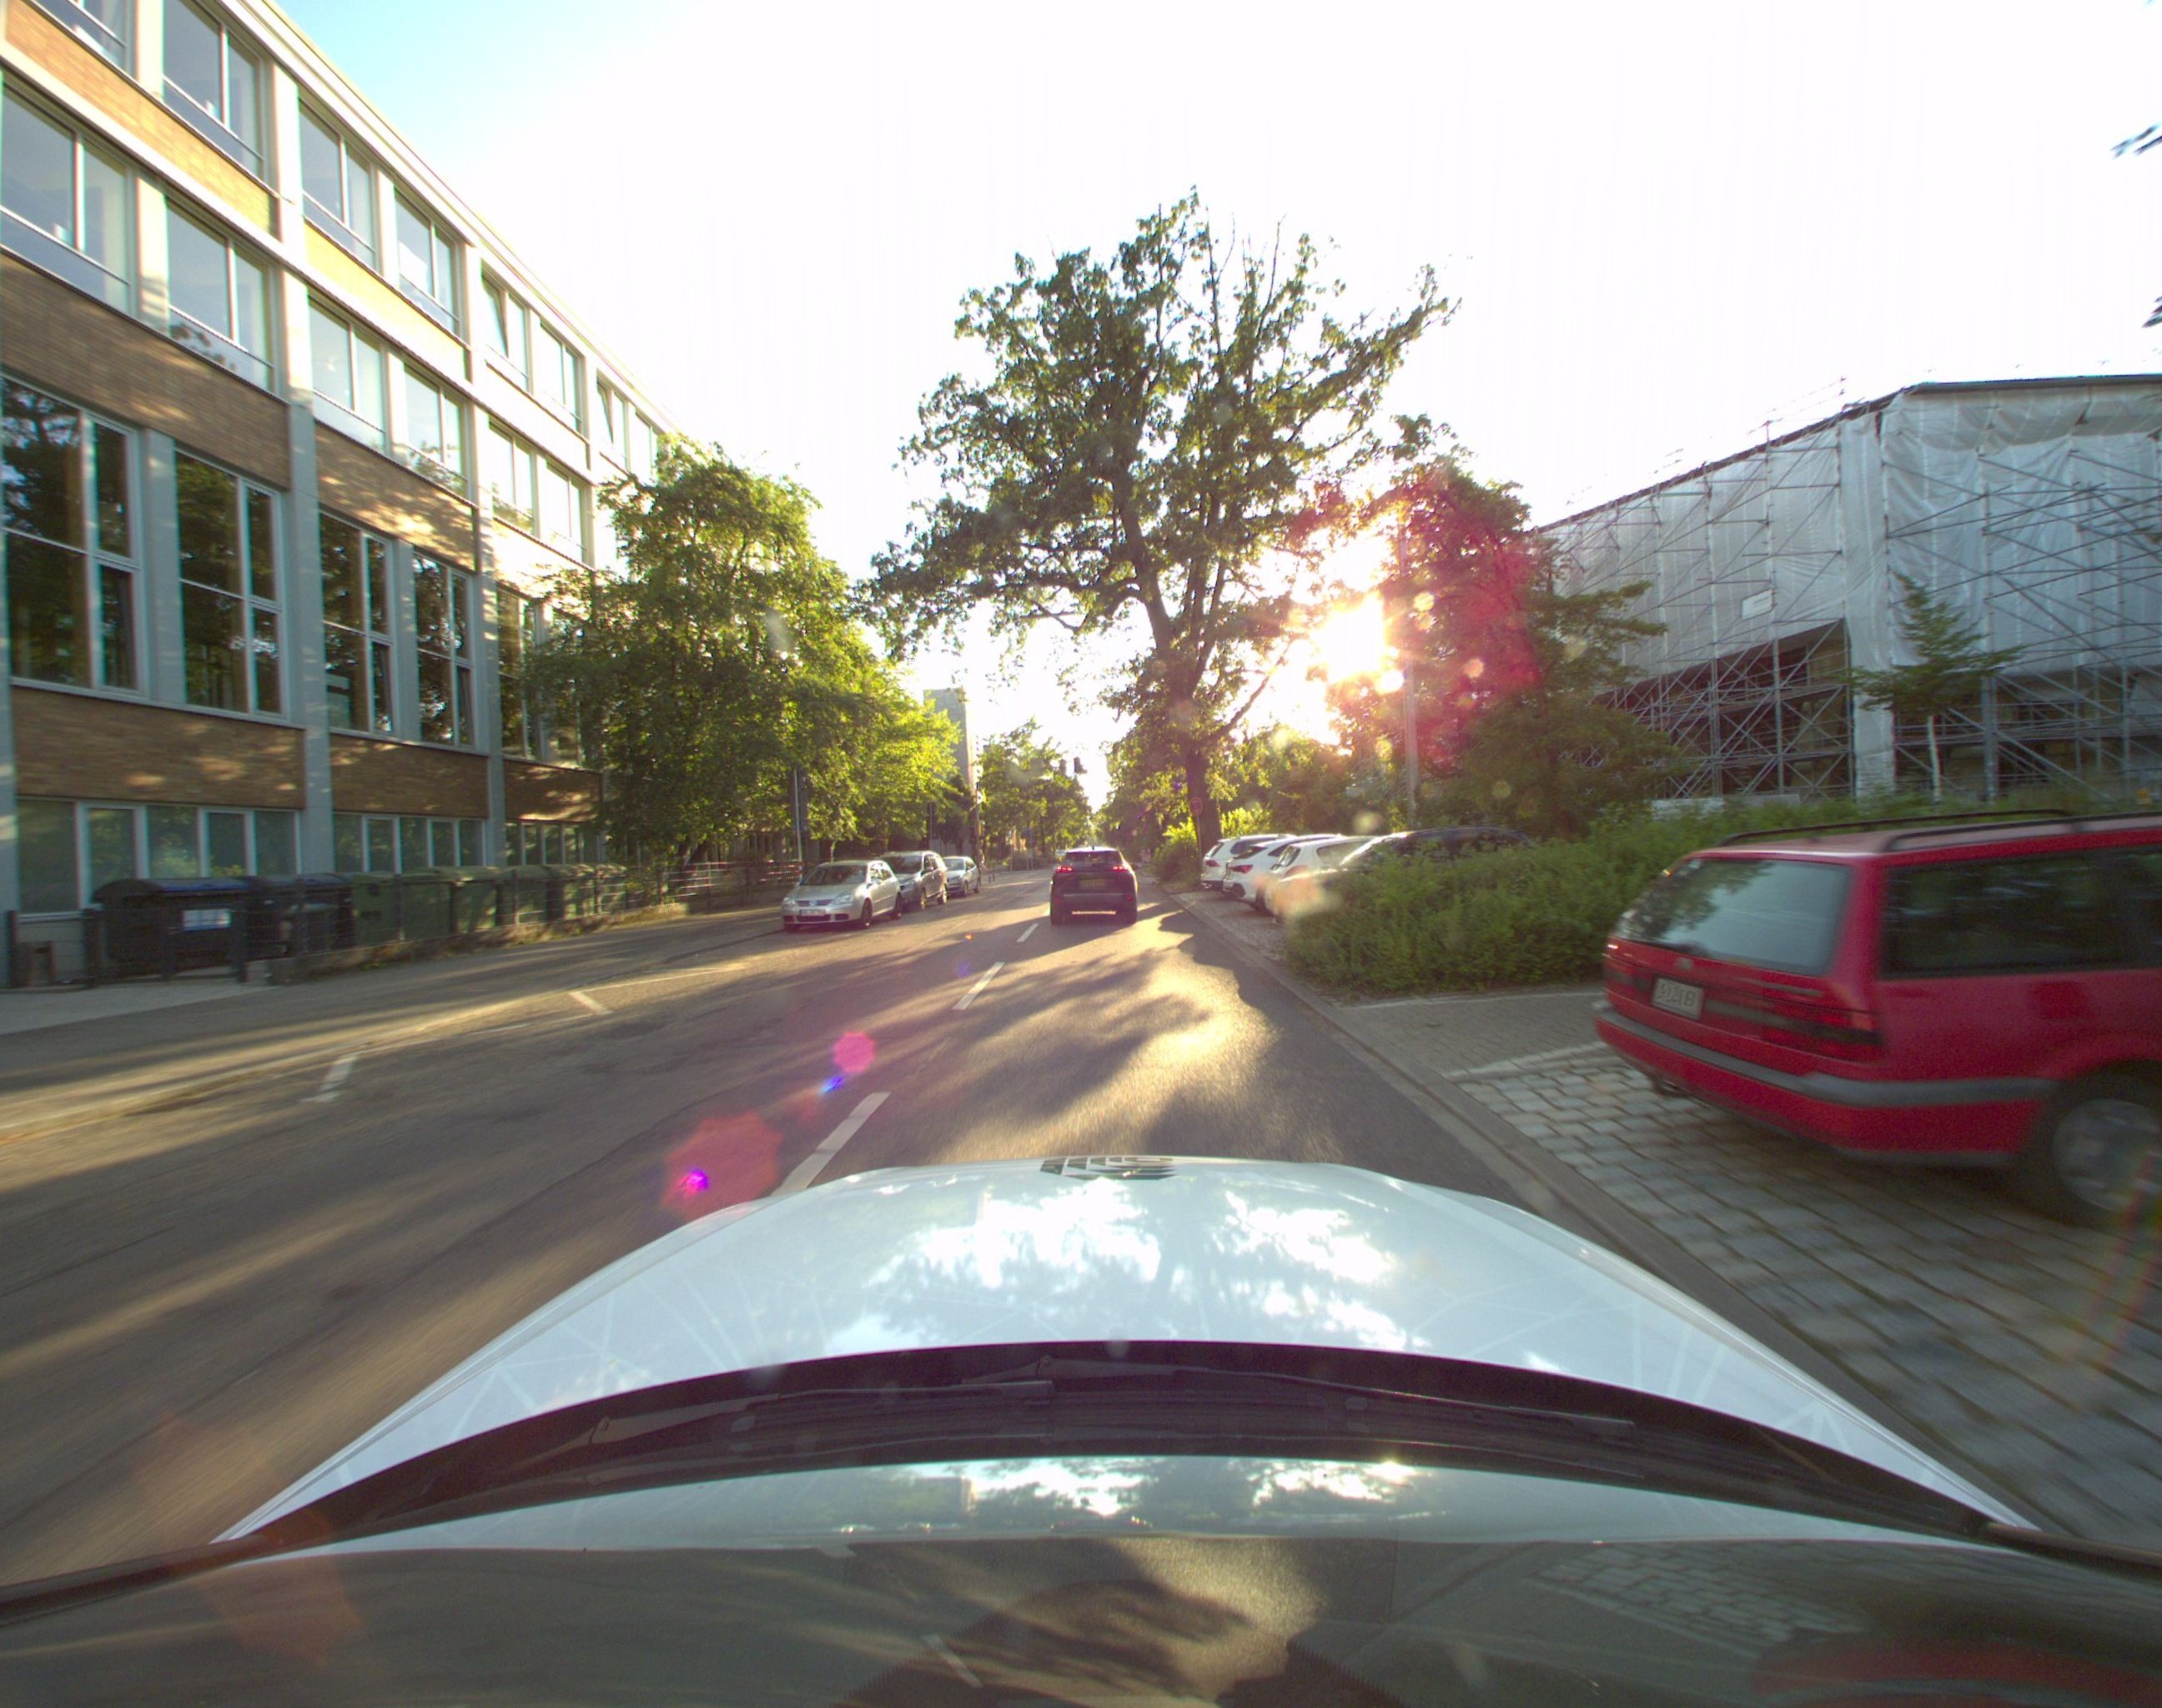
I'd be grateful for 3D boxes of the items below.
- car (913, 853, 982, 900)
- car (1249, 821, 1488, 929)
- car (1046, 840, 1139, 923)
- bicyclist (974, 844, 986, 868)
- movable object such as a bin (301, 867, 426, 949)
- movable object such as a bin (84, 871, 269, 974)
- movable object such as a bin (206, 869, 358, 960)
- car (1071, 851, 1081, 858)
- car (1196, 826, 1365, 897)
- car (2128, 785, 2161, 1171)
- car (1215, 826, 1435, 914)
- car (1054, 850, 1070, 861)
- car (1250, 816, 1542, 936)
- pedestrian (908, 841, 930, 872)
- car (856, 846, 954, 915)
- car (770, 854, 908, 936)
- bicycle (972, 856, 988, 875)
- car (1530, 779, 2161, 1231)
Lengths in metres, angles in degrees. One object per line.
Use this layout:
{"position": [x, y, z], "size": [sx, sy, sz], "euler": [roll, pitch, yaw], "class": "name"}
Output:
{"position": [-4.861, 0.783, 30.182], "size": [1.673, 1.457, 3.884], "euler": [-4, 1, 2], "class": "car"}
{"position": [5.032, 0.359, 14.648], "size": [3.576, 1.566, 1.818], "euler": [-4, -1, 0], "class": "car"}
{"position": [0.267, 0.515, 17.501], "size": [1.762, 1.568, 3.381], "euler": [-2, 1, 1], "class": "car"}
{"position": [-6.864, 0.110, 55.316], "size": [0.673, 1.603, 0.707], "euler": [-2, 0, 2], "class": "bicyclist"}
{"position": [-13.702, 1.008, 15.602], "size": [1.094, 1.430, 1.374], "euler": [-2, 0, 5], "class": "movable object such as a bin"}
{"position": [-13.959, 1.019, 12.642], "size": [1.094, 1.430, 1.521], "euler": [-2, 0, 5], "class": "movable object such as a bin"}
{"position": [-13.823, 1.013, 14.153], "size": [1.094, 1.430, 1.488], "euler": [-2, 0, 5], "class": "movable object such as a bin"}
{"position": [-0.990, 0.115, 157.273], "size": [1.806, 1.354, 3.997], "euler": [-3, 0, -2], "class": "car"}
{"position": [5.230, 0.187, 21.820], "size": [4.150, 1.710, 1.870], "euler": [-2, 0, 5], "class": "car"}
{"position": [5.056, 0.418, 1.603], "size": [3.700, 1.555, 1.741], "euler": [-5, 0, -1], "class": "car"}
{"position": [5.001, 0.312, 17.093], "size": [4.107, 1.667, 1.723], "euler": [-1, 0, 1], "class": "car"}
{"position": [-2.518, 0.216, 107.129], "size": [1.806, 1.354, 3.995], "euler": [-3, 0, -3], "class": "car"}
{"position": [4.587, 0.298, 12.240], "size": [3.733, 1.594, 1.696], "euler": [-1, 0, -1], "class": "car"}
{"position": [-10.088, 0.154, 50.760], "size": [0.812, 1.823, 0.963], "euler": [-2, 1, 39], "class": "pedestrian"}
{"position": [-5.022, 0.682, 23.866], "size": [1.673, 1.708, 4.343], "euler": [-4, 1, 2], "class": "car"}
{"position": [-5.274, 0.822, 18.354], "size": [1.664, 1.493, 4.064], "euler": [-4, 1, 2], "class": "car"}
{"position": [-6.841, 0.764, 55.320], "size": [0.684, 1.249, 2.193], "euler": [-2, 0, 2], "class": "bicycle"}
{"position": [4.786, 0.453, 3.815], "size": [4.321, 1.475, 1.743], "euler": [-5, 1, 2], "class": "car"}
